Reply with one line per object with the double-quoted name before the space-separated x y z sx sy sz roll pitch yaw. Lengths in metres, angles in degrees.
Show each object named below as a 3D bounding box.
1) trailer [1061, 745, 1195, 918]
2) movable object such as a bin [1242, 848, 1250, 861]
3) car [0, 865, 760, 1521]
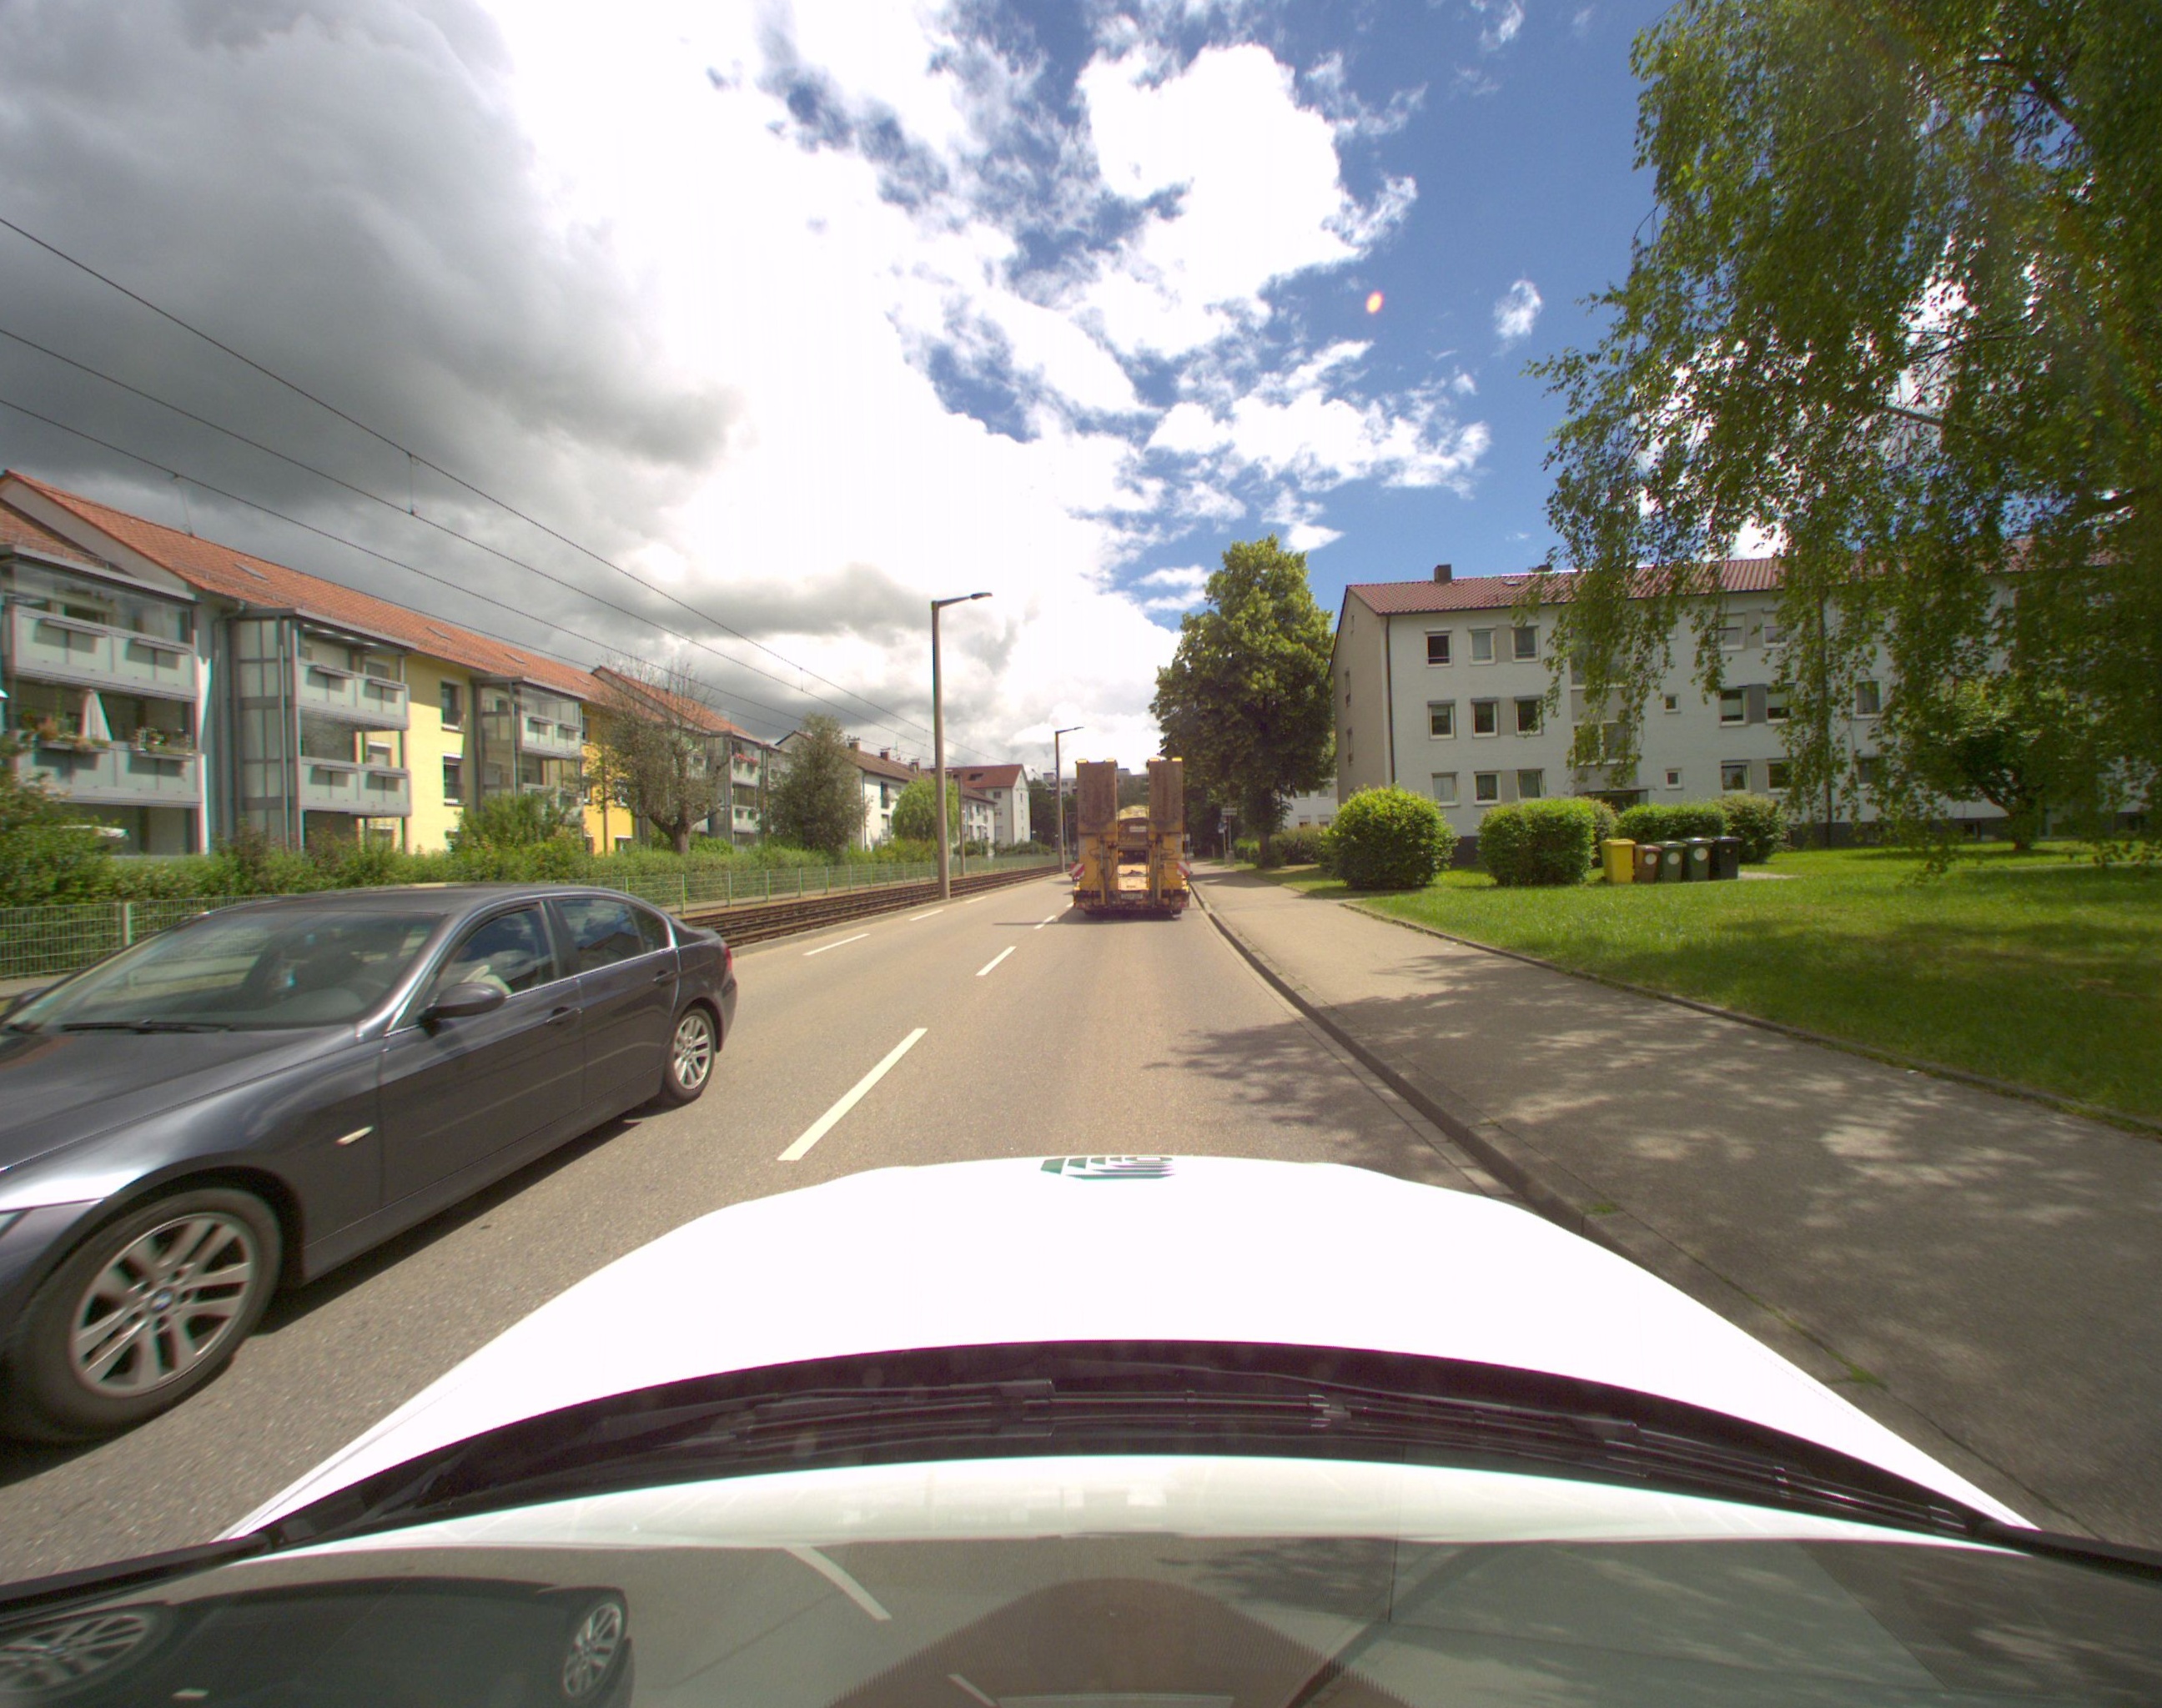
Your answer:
"trailer" 1.248 -0.483 23.477 2.816 3.646 12.361 0 0 2
"movable object such as a bin" 12.588 0.017 62.173 0.493 0.955 0.581 -3 -1 6
"car" -3.216 0.817 3.774 1.622 1.432 4.170 -1 0 2
